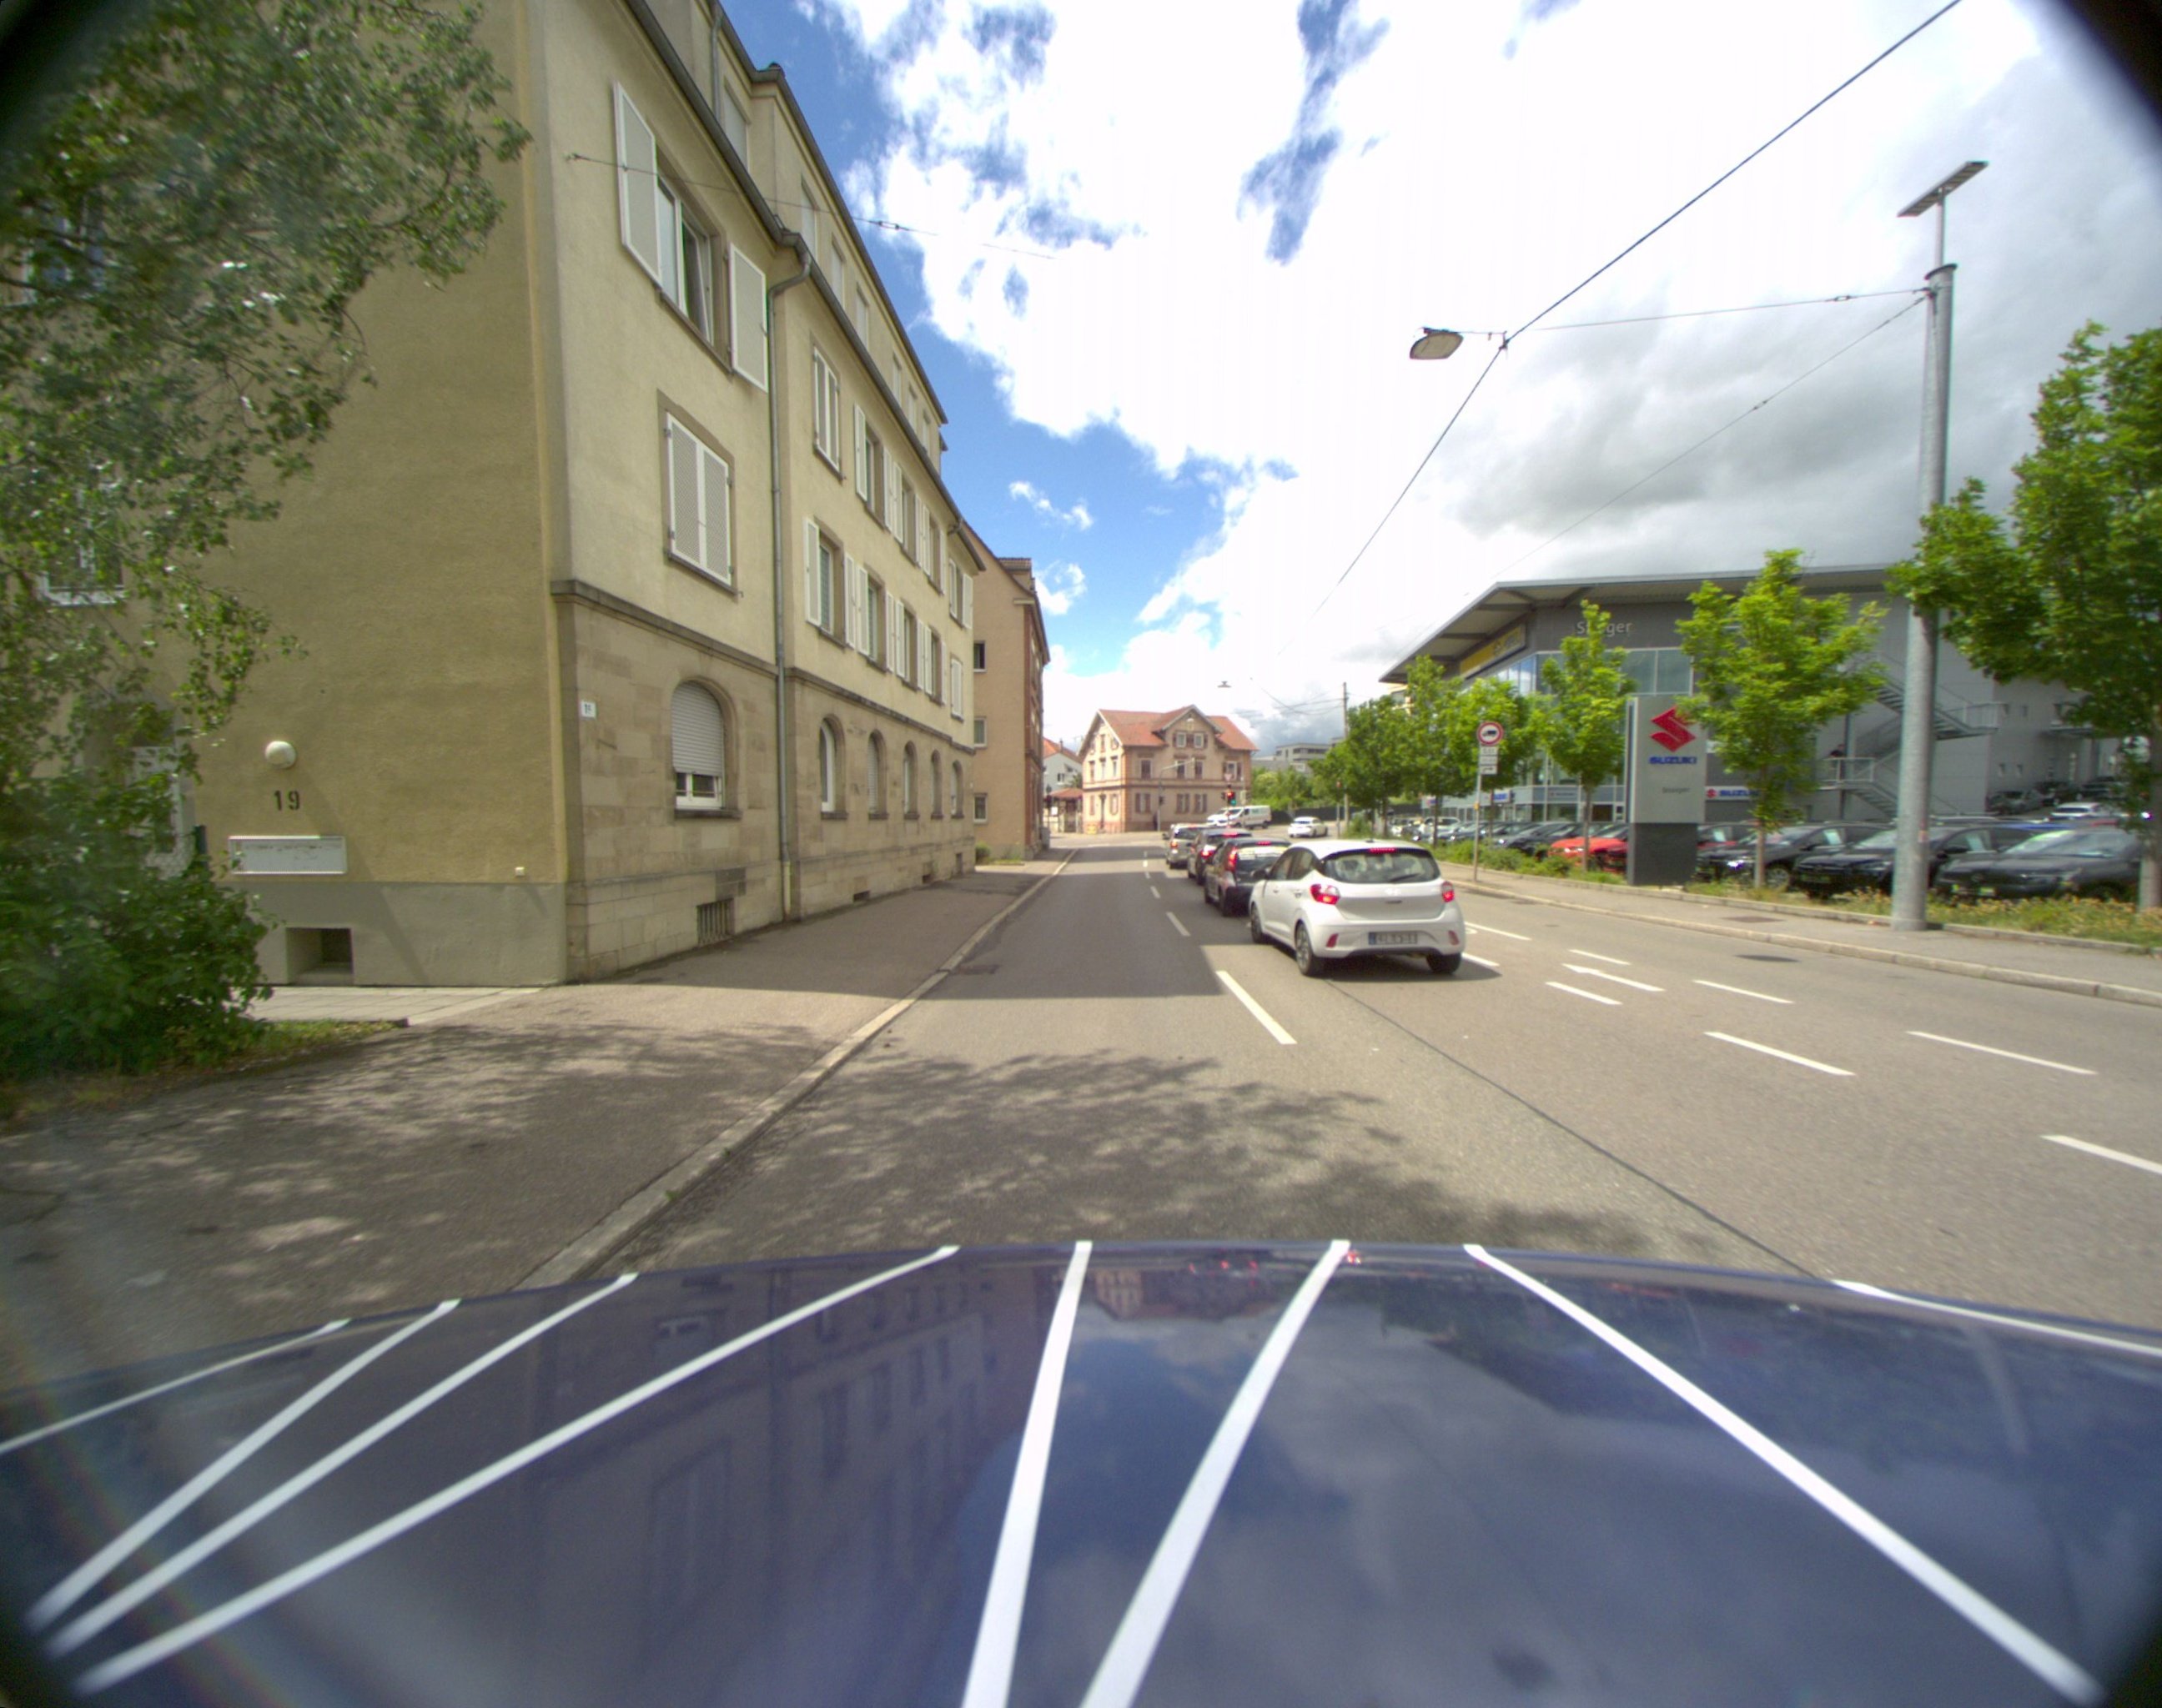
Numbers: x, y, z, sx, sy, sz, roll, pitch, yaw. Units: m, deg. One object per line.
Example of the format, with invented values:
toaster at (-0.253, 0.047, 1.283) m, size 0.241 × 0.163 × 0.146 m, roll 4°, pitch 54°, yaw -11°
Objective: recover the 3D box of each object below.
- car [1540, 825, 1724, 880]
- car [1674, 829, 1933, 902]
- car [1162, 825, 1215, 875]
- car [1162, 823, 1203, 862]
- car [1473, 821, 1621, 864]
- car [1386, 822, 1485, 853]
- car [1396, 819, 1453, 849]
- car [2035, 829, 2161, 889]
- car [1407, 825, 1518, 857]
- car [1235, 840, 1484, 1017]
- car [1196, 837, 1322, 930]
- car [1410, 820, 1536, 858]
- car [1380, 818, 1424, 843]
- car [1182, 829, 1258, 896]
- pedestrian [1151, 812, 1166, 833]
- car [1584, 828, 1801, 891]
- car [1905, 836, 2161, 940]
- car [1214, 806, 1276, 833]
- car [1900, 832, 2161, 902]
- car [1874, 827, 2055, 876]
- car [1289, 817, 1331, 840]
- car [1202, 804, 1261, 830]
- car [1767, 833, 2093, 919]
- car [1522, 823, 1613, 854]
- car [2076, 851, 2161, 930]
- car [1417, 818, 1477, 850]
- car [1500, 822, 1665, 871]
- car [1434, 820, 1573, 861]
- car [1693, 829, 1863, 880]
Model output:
car at (15.469, -0.067, 21.511) m, size 3.836 × 1.489 × 1.812 m, roll 0°, pitch 2°, yaw 2°
car at (15.359, 0.210, 16.310) m, size 3.823 × 1.489 × 1.812 m, roll 0°, pitch 2°, yaw -1°
car at (3.999, -0.217, 28.702) m, size 1.722 × 1.573 × 4.317 m, roll -2°, pitch 3°, yaw 5°
car at (4.749, -0.585, 35.924) m, size 1.722 × 1.573 × 3.999 m, roll -2°, pitch 3°, yaw 5°
car at (16.362, -0.419, 26.861) m, size 4.064 × 1.489 × 1.812 m, roll 0°, pitch 2°, yaw 2°
car at (17.216, -0.824, 37.038) m, size 3.995 × 1.489 × 1.813 m, roll 0°, pitch 2°, yaw 6°
car at (20.743, -1.251, 46.039) m, size 1.946 × 1.554 × 4.306 m, roll -2°, pitch 3°, yaw 7°
car at (25.386, 0.102, 18.082) m, size 3.323 × 1.366 × 1.517 m, roll 0°, pitch 2°, yaw 1°
car at (17.123, -0.618, 34.255) m, size 4.075 × 1.387 × 1.813 m, roll 0°, pitch 2°, yaw 6°
car at (3.213, 0.722, 9.640) m, size 1.723 × 1.573 × 3.998 m, roll -2°, pitch 3°, yaw 1°
car at (3.420, 0.487, 15.166) m, size 1.723 × 1.476 × 3.321 m, roll -2°, pitch 3°, yaw 1°
car at (16.155, -0.632, 31.474) m, size 4.216 × 1.489 × 1.812 m, roll 0°, pitch 2°, yaw 2°
car at (21.339, -1.622, 50.703) m, size 1.946 × 1.466 × 4.307 m, roll -2°, pitch 3°, yaw 13°
car at (3.924, 0.157, 22.019) m, size 1.722 × 1.573 × 4.250 m, roll -2°, pitch 3°, yaw 5°
pedestrian at (7.061, -2.913, 69.448) m, size 1.049 × 1.855 × 0.722 m, roll -5°, pitch 4°, yaw -22°
car at (15.020, 0.094, 18.837) m, size 3.858 × 1.489 × 1.812 m, roll 0°, pitch 2°, yaw 1°
car at (15.057, 0.439, 11.324) m, size 3.708 × 1.401 × 1.794 m, roll 0°, pitch 2°, yaw -4°
car at (13.926, -2.958, 64.477) m, size 4.995 × 1.982 × 1.995 m, roll -5°, pitch 4°, yaw -27°
car at (19.264, 0.227, 15.530) m, size 3.323 × 1.366 × 1.517 m, roll 0°, pitch 2°, yaw 1°
car at (25.381, -0.097, 21.907) m, size 3.323 × 1.366 × 1.517 m, roll 0°, pitch 2°, yaw 1°
car at (16.533, -1.847, 54.797) m, size 1.719 × 1.489 × 4.470 m, roll 3°, pitch 5°, yaw 32°
car at (13.584, -3.373, 68.718) m, size 4.820 × 2.001 × 1.996 m, roll -5°, pitch 4°, yaw -21°
car at (15.111, 0.348, 13.698) m, size 3.843 × 1.453 × 1.772 m, roll 0°, pitch 2°, yaw 0°
car at (21.525, -0.696, 33.706) m, size 3.017 × 1.366 × 1.517 m, roll 0°, pitch 2°, yaw 3°
car at (18.961, 0.589, 12.335) m, size 3.472 × 1.247 × 1.545 m, roll 0°, pitch 2°, yaw 1°
car at (20.017, -1.127, 41.708) m, size 1.946 × 1.554 × 3.996 m, roll -2°, pitch 3°, yaw 10°
car at (15.826, -0.252, 24.133) m, size 3.991 × 1.489 × 1.812 m, roll 0°, pitch 2°, yaw 2°
car at (16.157, -0.534, 29.242) m, size 4.289 × 1.489 × 1.812 m, roll 0°, pitch 2°, yaw 2°
car at (19.569, -0.012, 21.440) m, size 3.323 × 1.366 × 1.517 m, roll 0°, pitch 2°, yaw 1°
